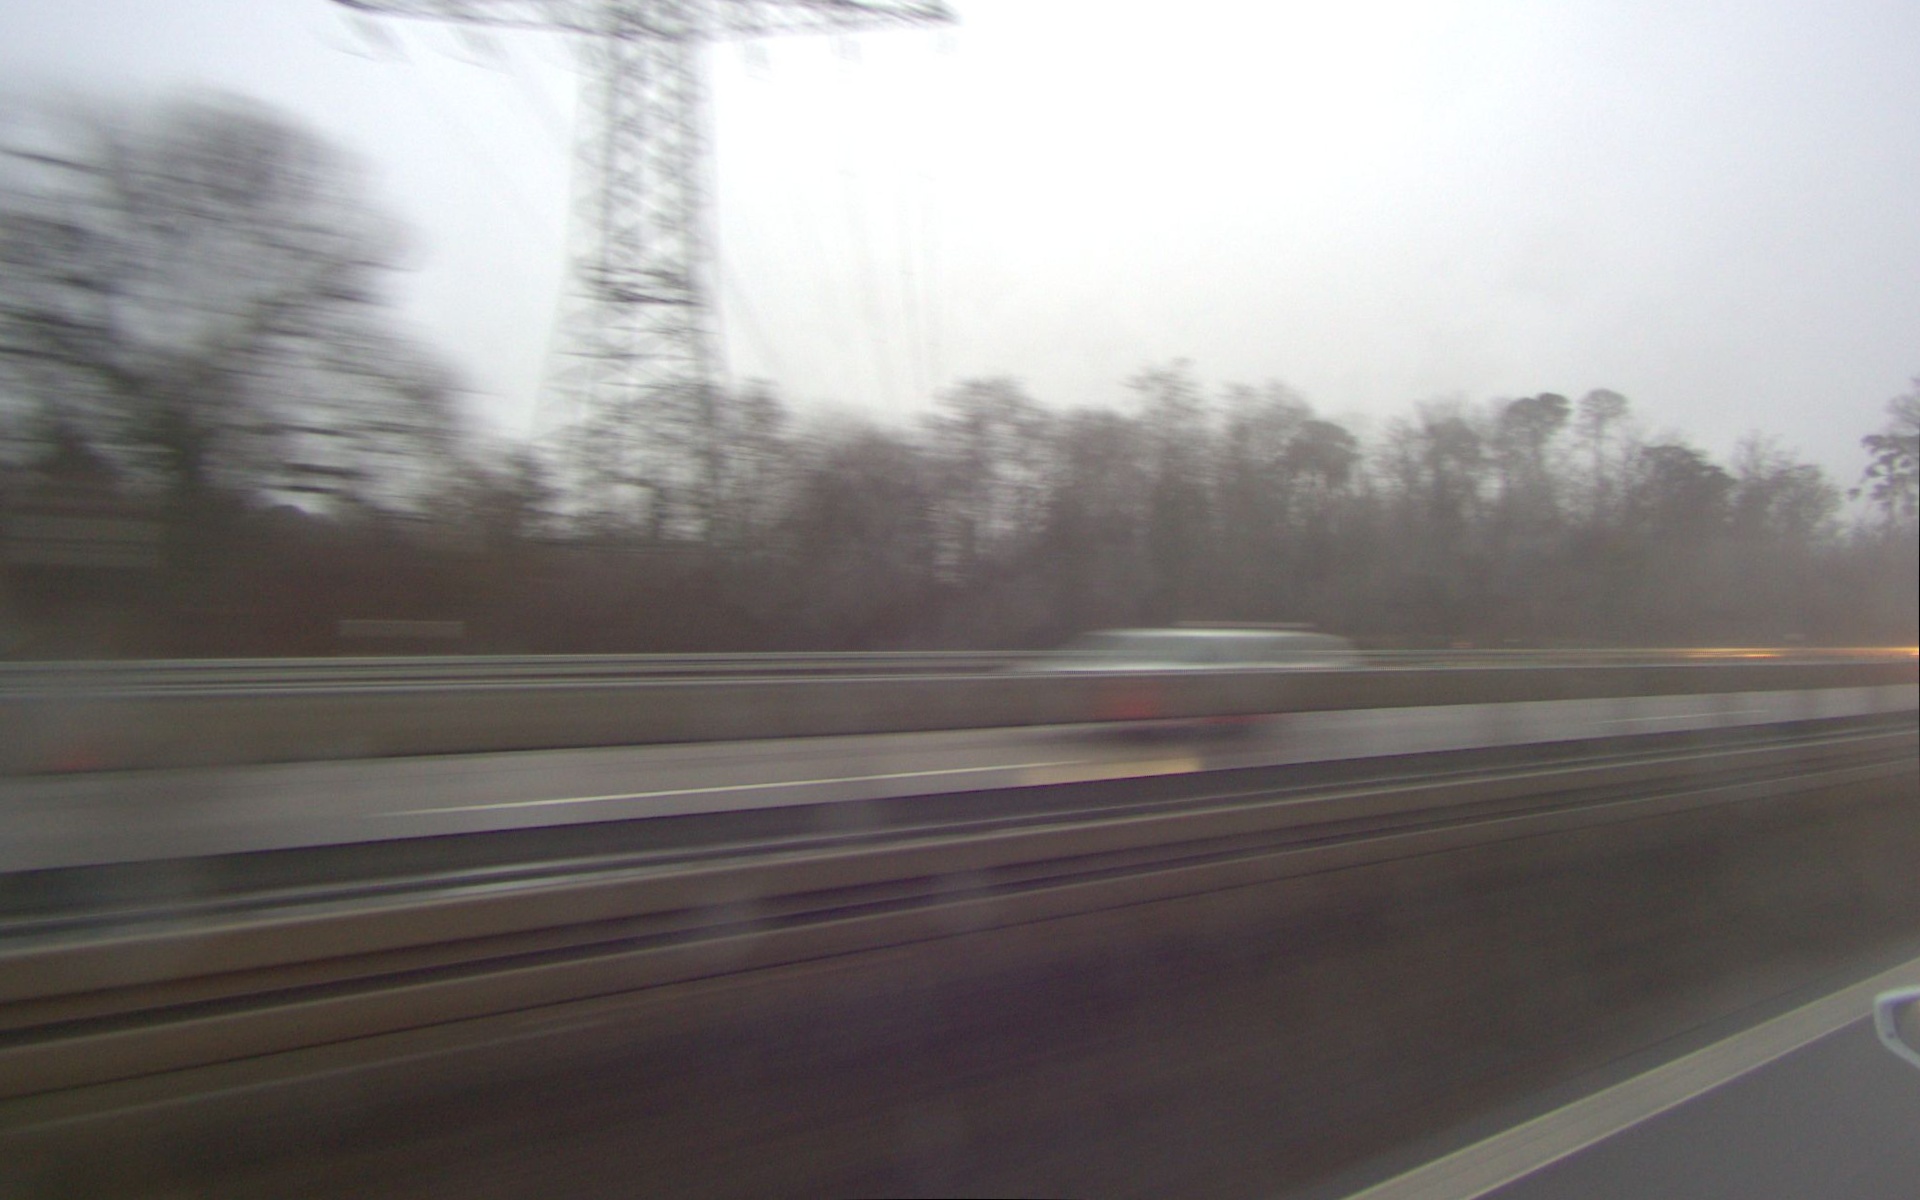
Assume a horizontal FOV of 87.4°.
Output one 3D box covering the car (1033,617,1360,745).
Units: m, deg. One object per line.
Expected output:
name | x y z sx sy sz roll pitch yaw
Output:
car | 3.510 1.079 14.600 4.698 1.592 1.788 1 -1 -30
